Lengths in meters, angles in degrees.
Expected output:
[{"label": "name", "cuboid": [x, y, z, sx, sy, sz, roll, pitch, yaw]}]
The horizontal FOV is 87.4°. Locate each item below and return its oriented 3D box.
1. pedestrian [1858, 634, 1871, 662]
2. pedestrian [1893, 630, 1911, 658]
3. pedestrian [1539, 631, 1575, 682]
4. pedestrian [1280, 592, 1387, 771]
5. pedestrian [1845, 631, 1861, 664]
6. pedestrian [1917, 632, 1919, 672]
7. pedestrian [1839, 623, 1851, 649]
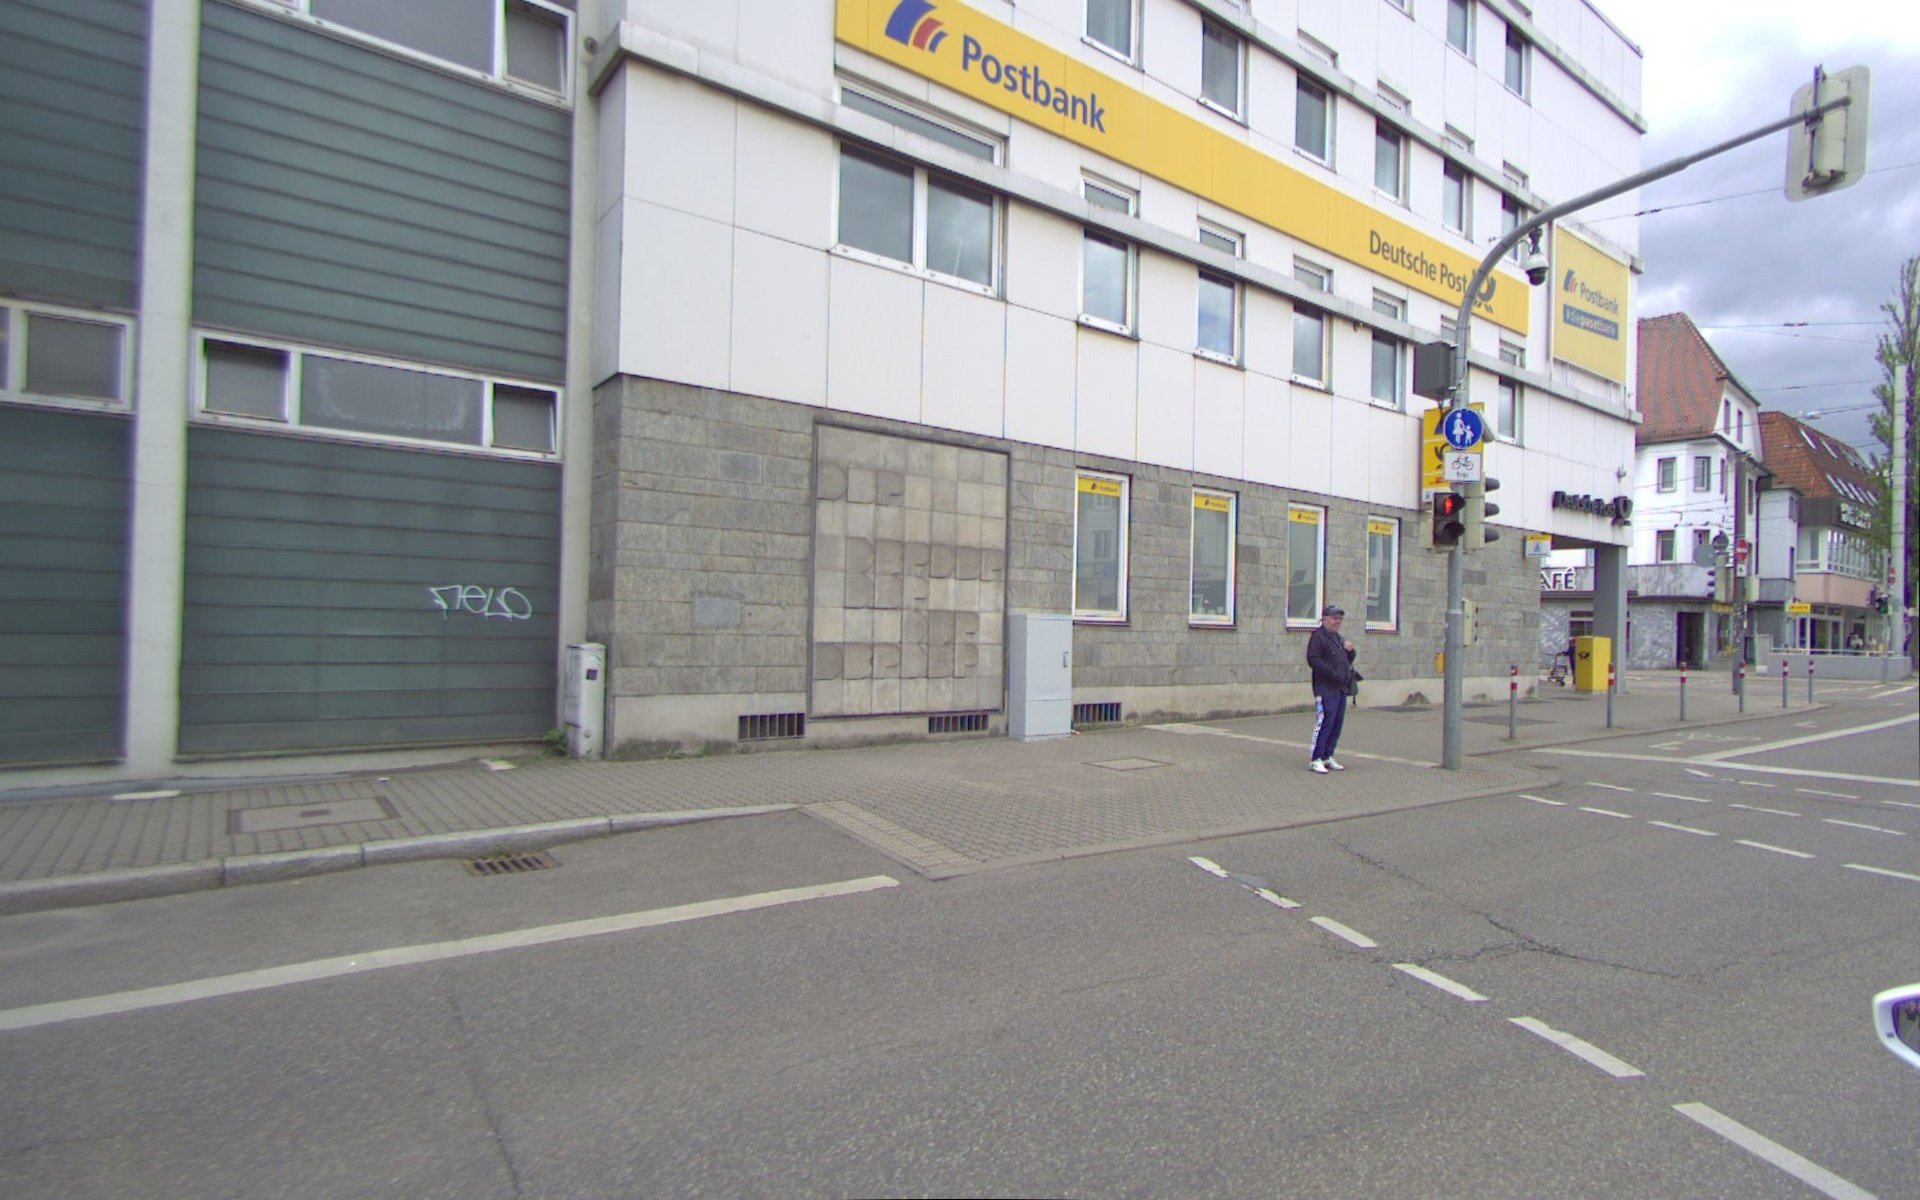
[{"label": "pedestrian", "cuboid": [52.175, 2.761, 57.941, 0.571, 1.627, 0.641, 0, -1, 41]}, {"label": "pedestrian", "cuboid": [55.626, 2.578, 59.313, 0.692, 1.627, 0.578, 0, -1, 33]}, {"label": "pedestrian", "cuboid": [17.160, 1.619, 28.887, 0.739, 1.433, 0.502, 1, -1, -11]}, {"label": "pedestrian", "cuboid": [3.814, 0.806, 10.267, 0.773, 1.741, 0.645, 1, 0, -29]}, {"label": "pedestrian", "cuboid": [50.998, 2.720, 57.358, 0.634, 1.860, 0.577, 0, -1, 40]}, {"label": "pedestrian", "cuboid": [40.211, 2.160, 41.728, 0.626, 1.627, 0.701, 0, -1, 41]}, {"label": "pedestrian", "cuboid": [55.530, 2.238, 63.043, 0.571, 1.627, 0.641, 0, -1, 41]}]
